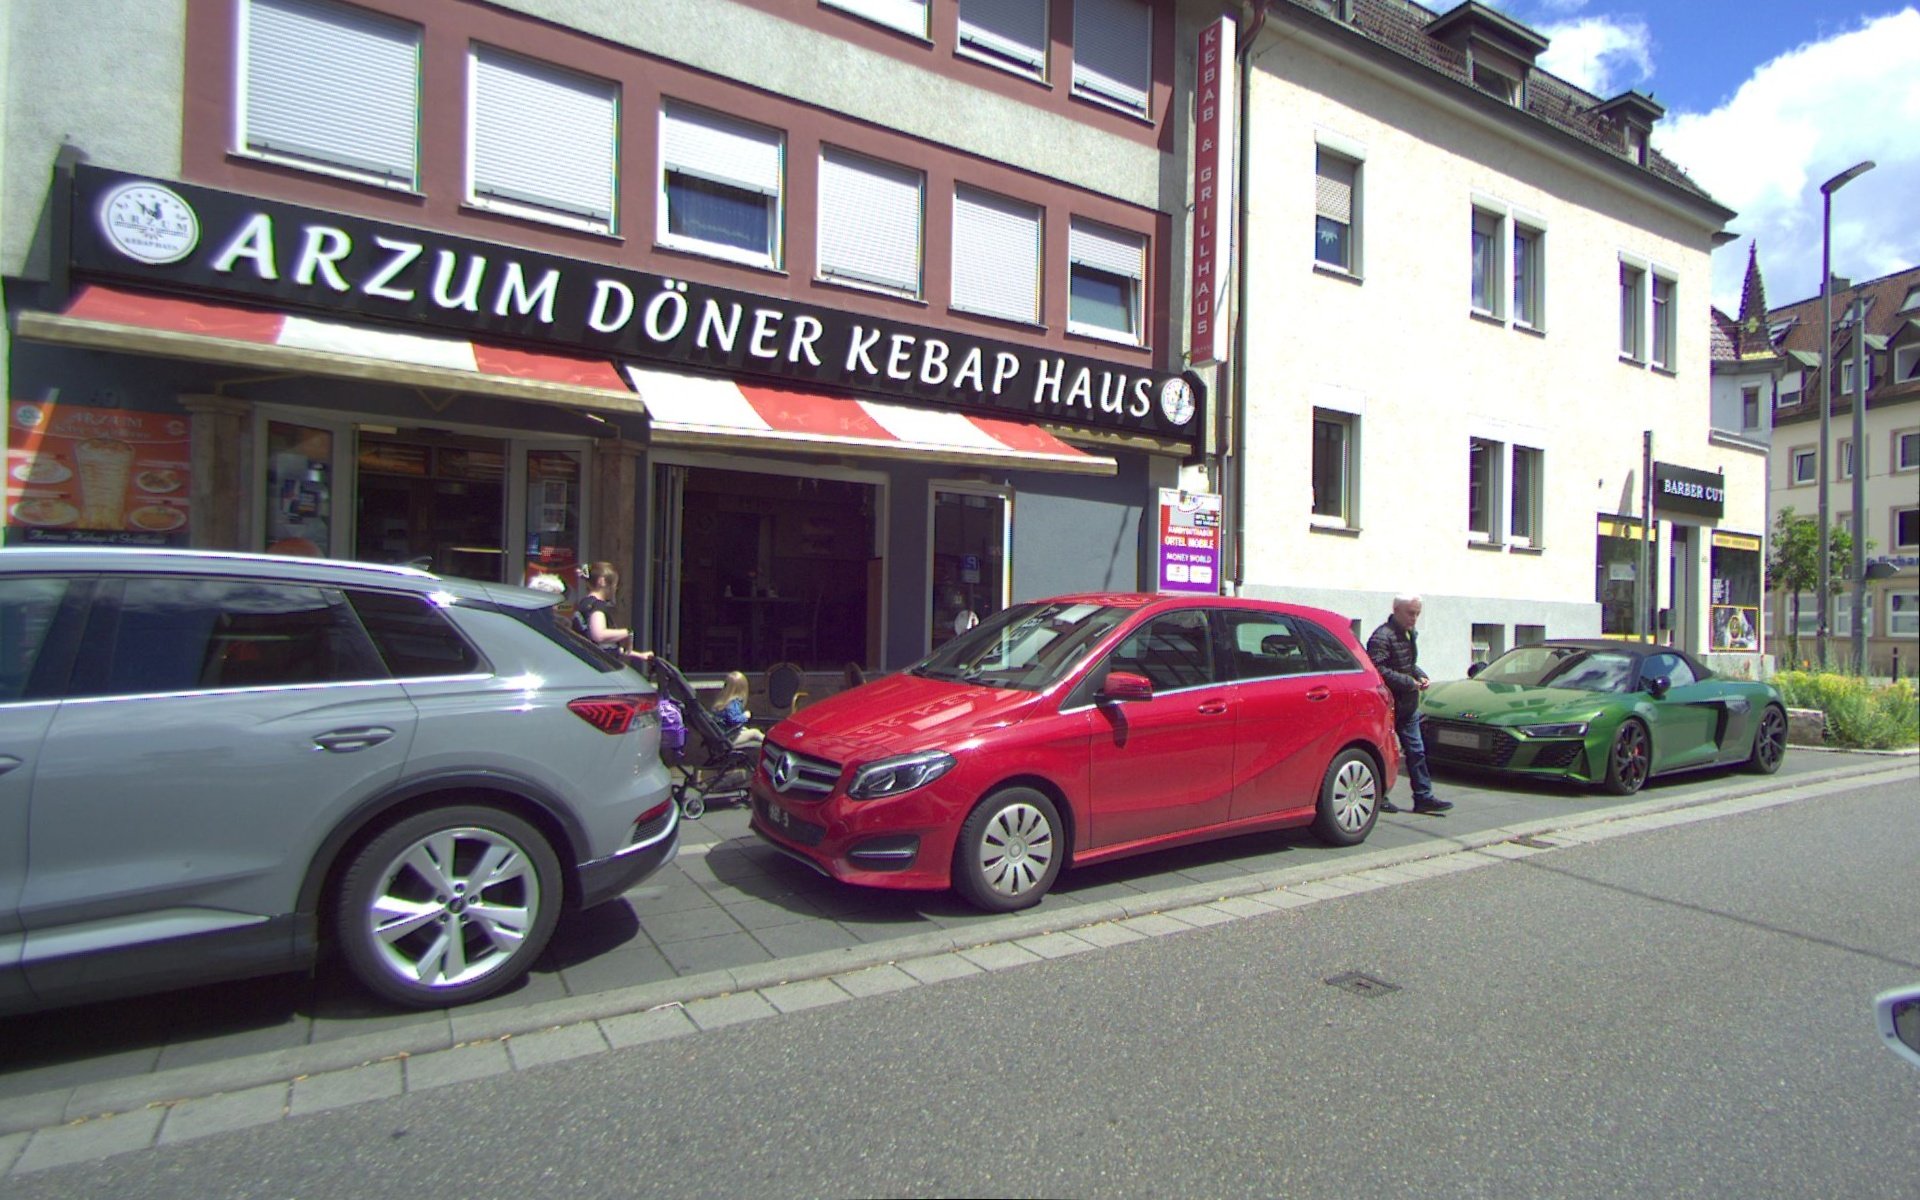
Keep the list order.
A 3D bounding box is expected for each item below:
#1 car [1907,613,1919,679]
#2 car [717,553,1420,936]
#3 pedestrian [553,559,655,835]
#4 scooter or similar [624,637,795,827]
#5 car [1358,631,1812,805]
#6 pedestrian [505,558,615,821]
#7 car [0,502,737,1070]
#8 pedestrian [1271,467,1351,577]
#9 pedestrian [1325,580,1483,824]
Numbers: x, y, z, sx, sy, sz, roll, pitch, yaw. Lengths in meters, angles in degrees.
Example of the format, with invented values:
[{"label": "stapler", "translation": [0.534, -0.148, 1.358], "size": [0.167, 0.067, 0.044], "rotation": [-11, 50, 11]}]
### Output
[{"label": "car", "translation": [29.453, 1.387, 27.433], "size": [4.898, 1.873, 2.048], "rotation": [2, 0, 7]}, {"label": "car", "translation": [0.827, 0.664, 6.204], "size": [4.175, 1.625, 1.788], "rotation": [1, -1, -34]}, {"label": "pedestrian", "translation": [-2.275, 0.590, 6.406], "size": [0.466, 1.670, 0.511], "rotation": [2, 0, -32]}, {"label": "scooter or similar", "translation": [-1.700, 0.856, 6.833], "size": [0.975, 1.166, 0.559], "rotation": [2, 0, -33]}, {"label": "car", "translation": [6.050, 0.970, 9.596], "size": [4.471, 1.240, 1.810], "rotation": [1, 1, -31]}, {"label": "pedestrian", "translation": [-2.694, 0.576, 6.752], "size": [0.568, 1.670, 0.498], "rotation": [2, 0, -32]}, {"label": "car", "translation": [-3.188, 0.543, 3.657], "size": [4.304, 1.625, 1.789], "rotation": [1, -1, -33]}, {"label": "pedestrian", "translation": [4.757, -1.034, 13.624], "size": [0.736, 1.412, 0.674], "rotation": [2, 0, -29]}, {"label": "pedestrian", "translation": [3.237, 0.706, 7.349], "size": [0.769, 1.670, 0.683], "rotation": [2, 0, -28]}]
